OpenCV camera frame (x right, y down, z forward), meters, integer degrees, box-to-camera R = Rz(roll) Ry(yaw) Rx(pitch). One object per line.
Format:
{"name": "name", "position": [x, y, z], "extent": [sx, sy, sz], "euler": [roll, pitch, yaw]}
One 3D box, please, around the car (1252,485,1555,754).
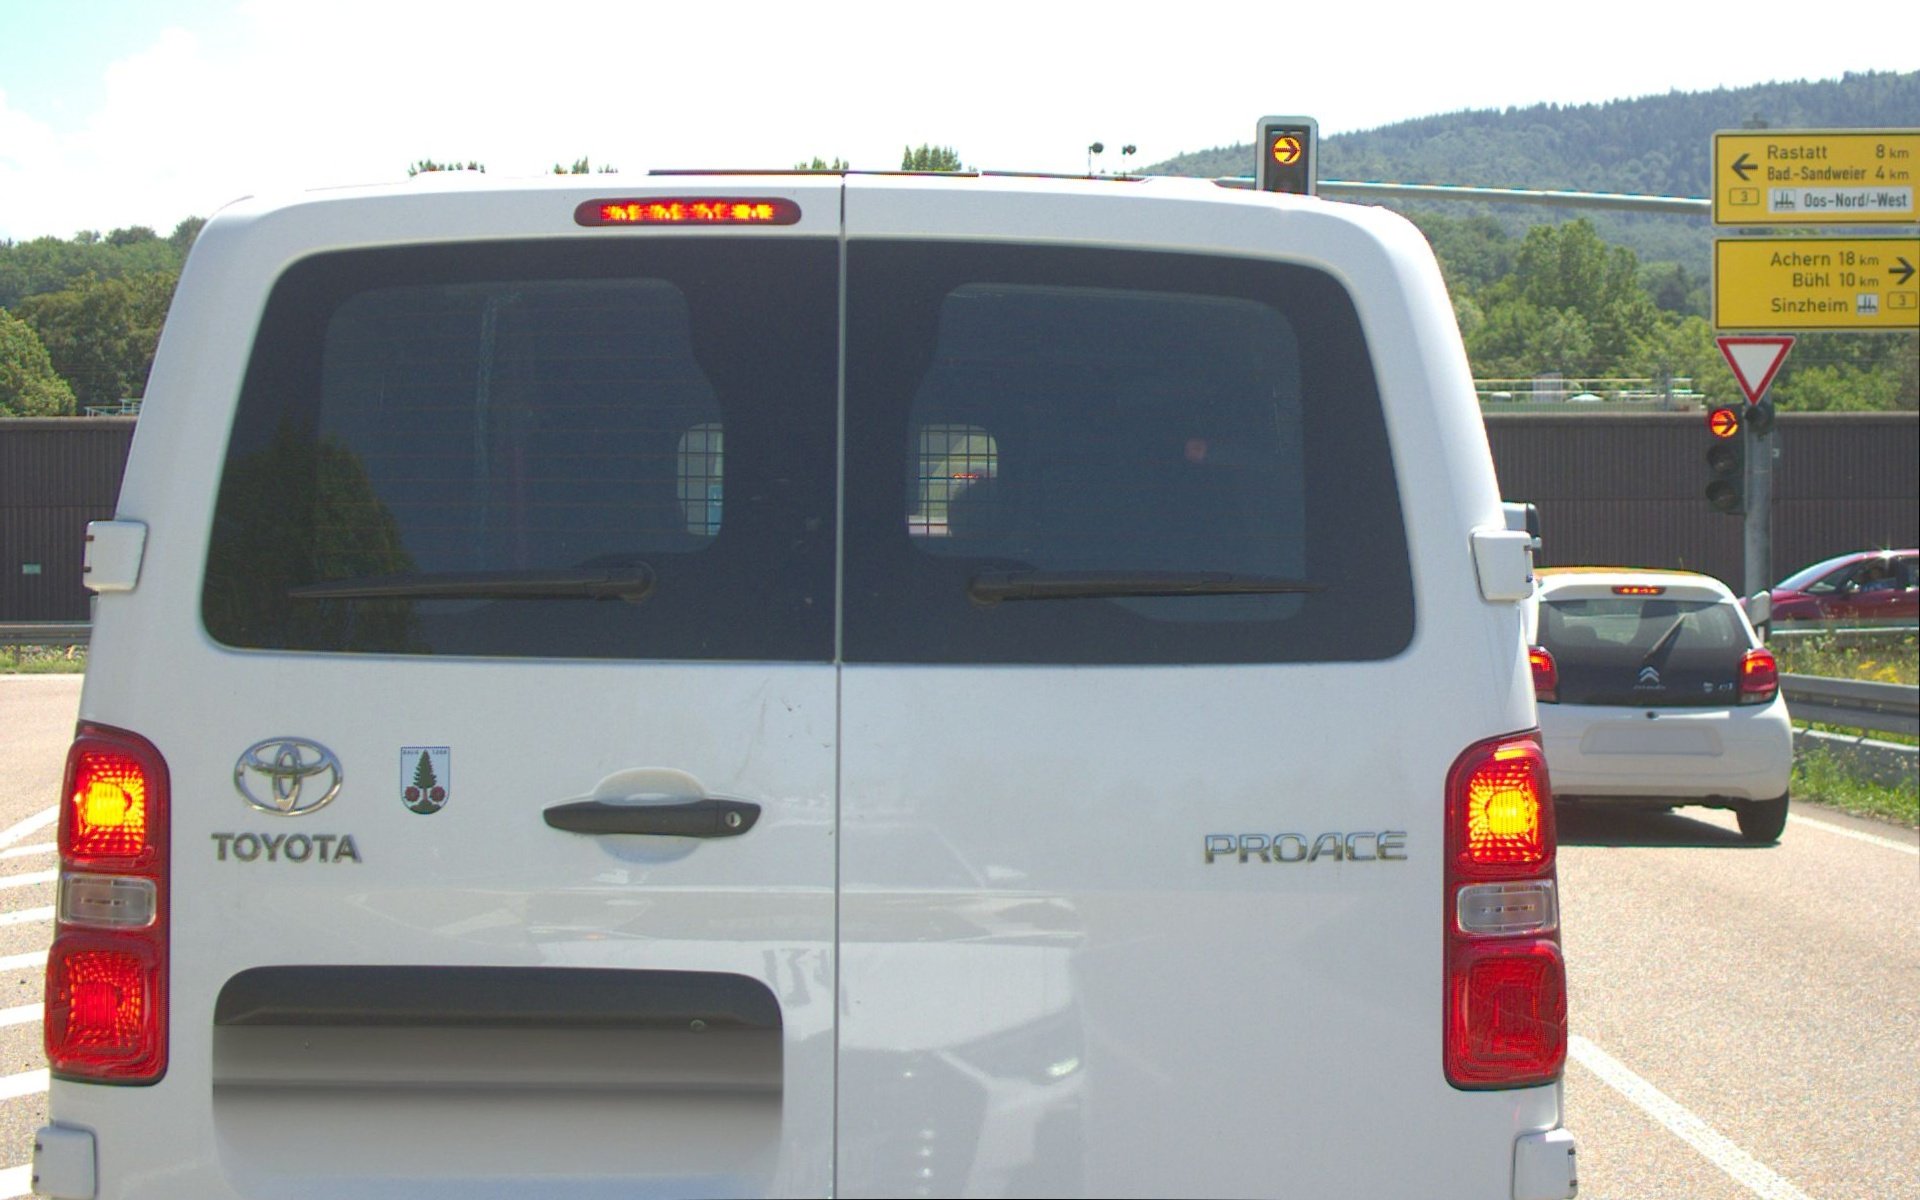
{"name": "car", "position": [3.532, 0.120, 28.218], "extent": [1.928, 1.993, 4.837], "euler": [1, 1, 1]}

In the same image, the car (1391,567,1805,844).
{"name": "car", "position": [3.541, 0.534, 19.623], "extent": [1.656, 1.426, 3.366], "euler": [1, 1, -1]}

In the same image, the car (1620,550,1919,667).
{"name": "car", "position": [11.954, 0.113, 49.842], "extent": [4.309, 1.651, 2.000], "euler": [0, 1, -3]}

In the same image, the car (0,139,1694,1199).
{"name": "car", "position": [-0.215, 0.442, 5.638], "extent": [1.886, 1.880, 4.000], "euler": [1, 1, -1]}
